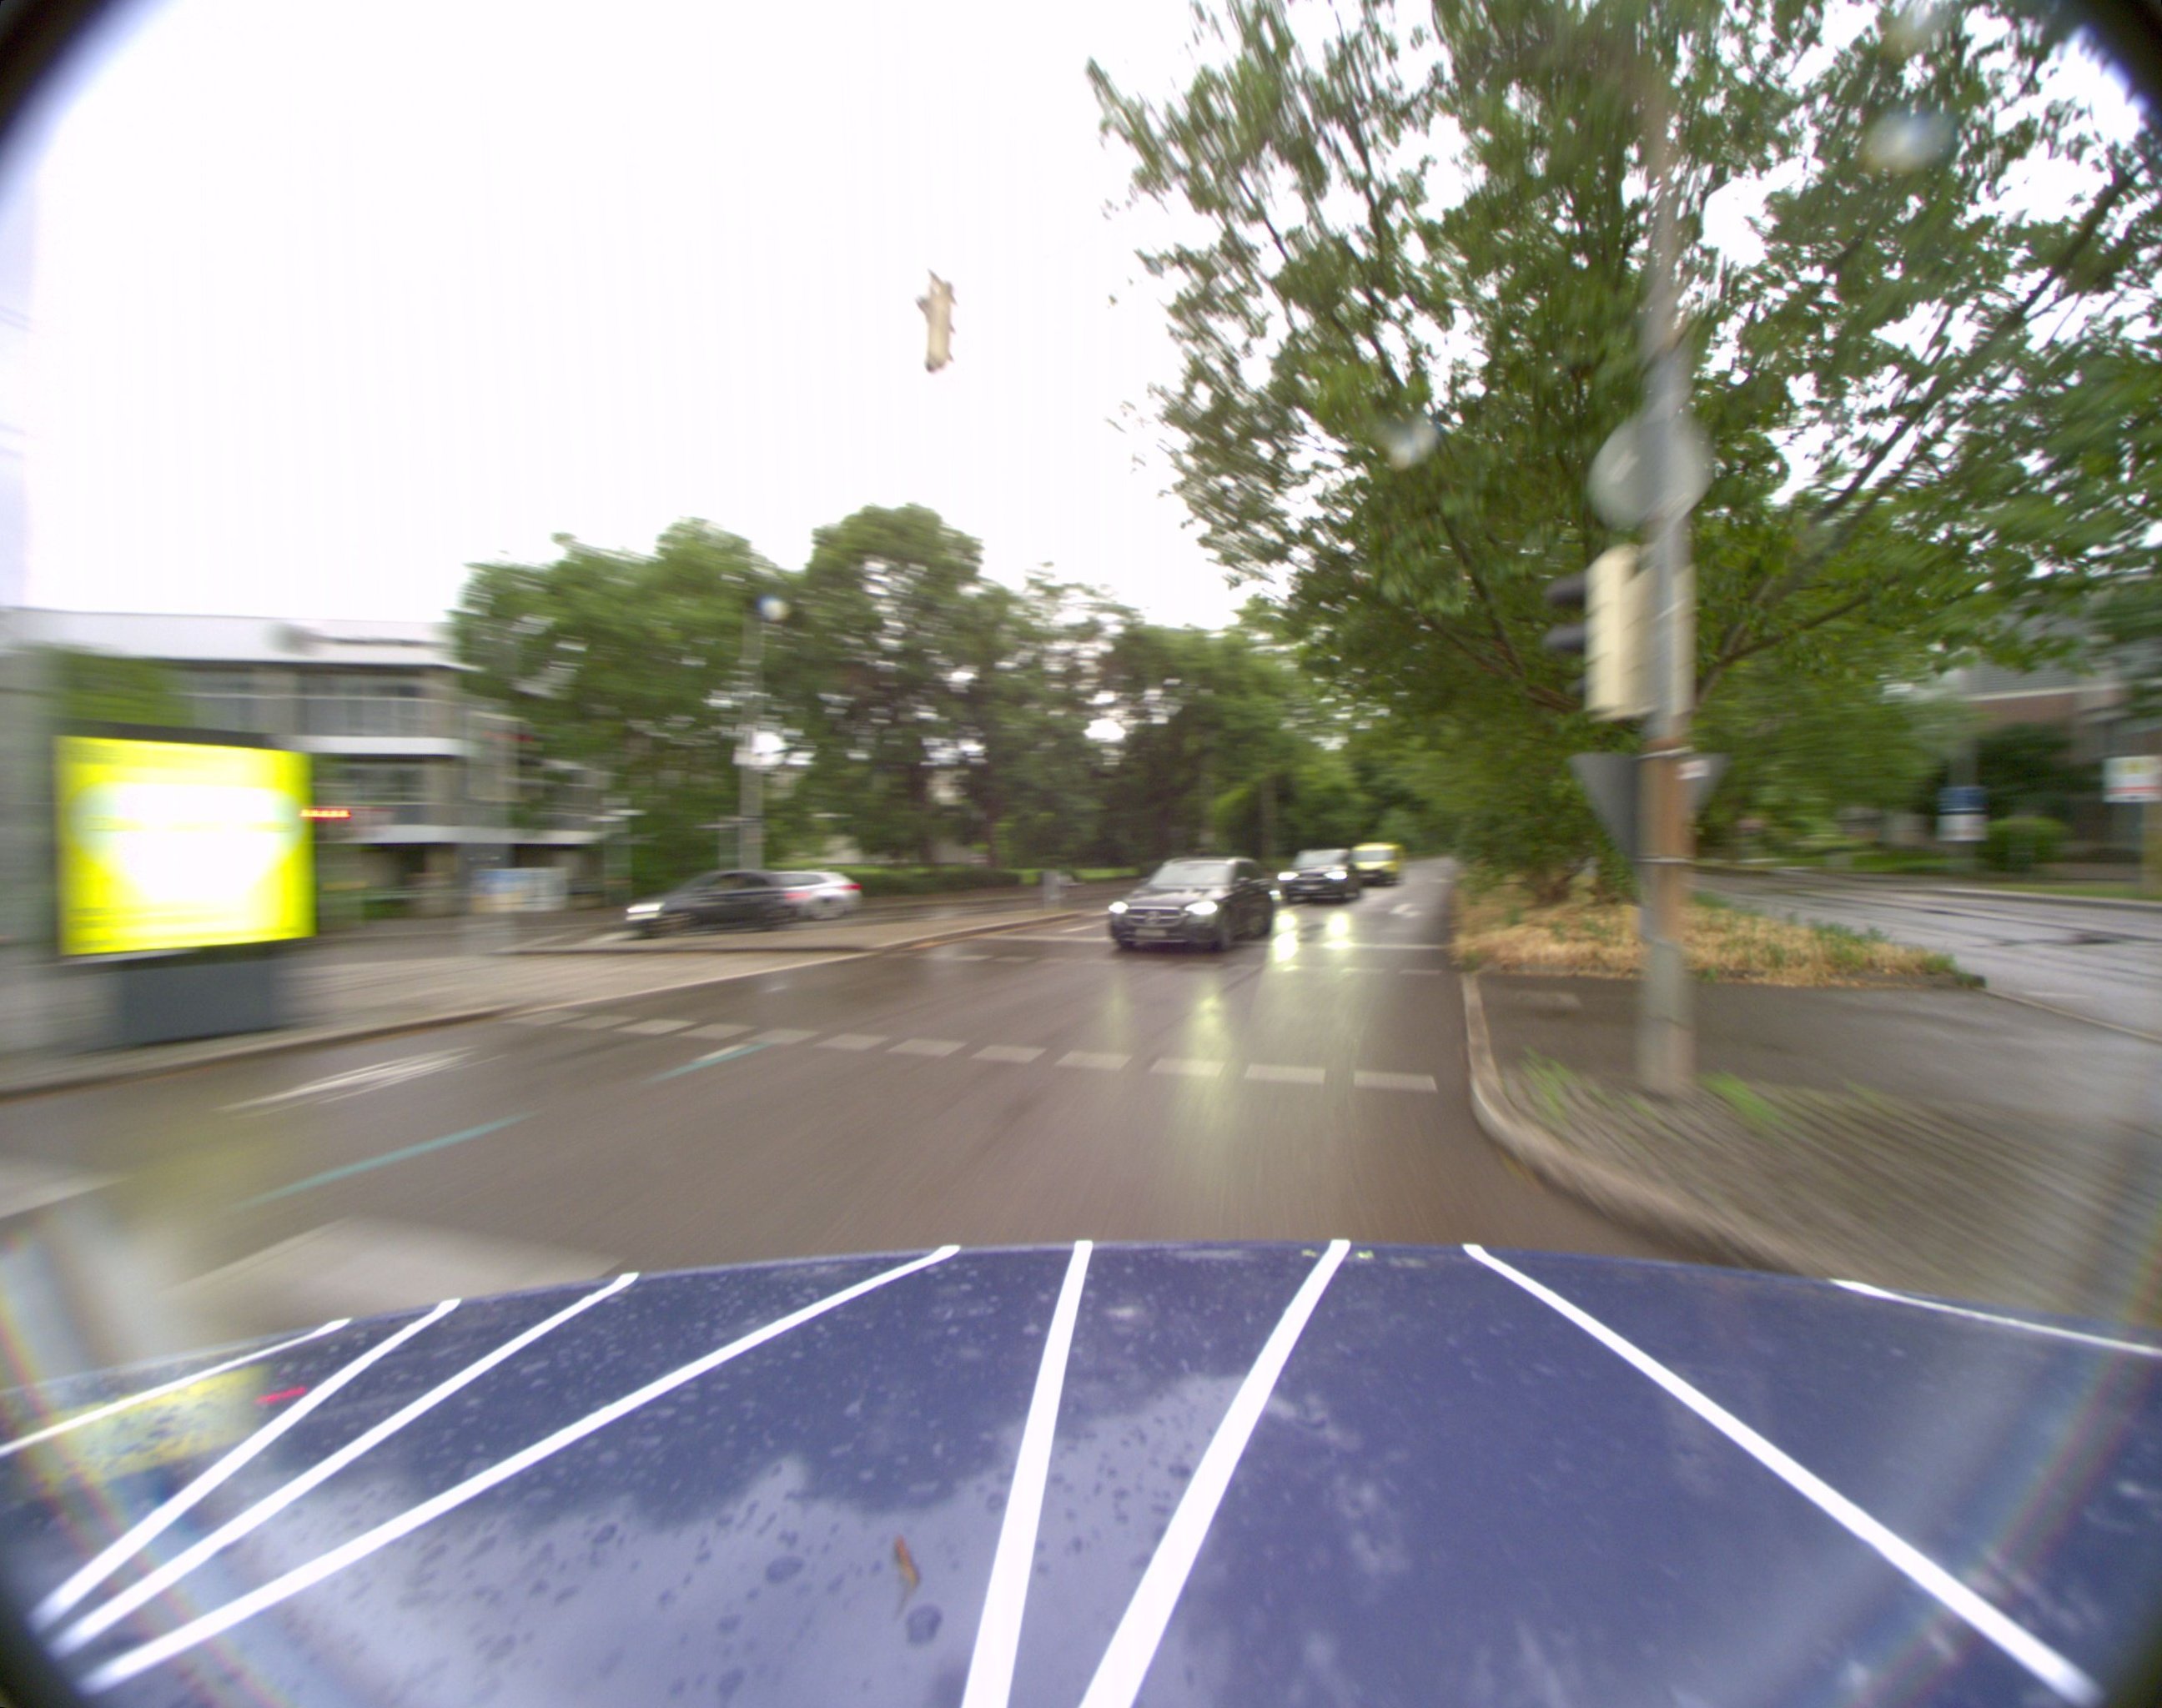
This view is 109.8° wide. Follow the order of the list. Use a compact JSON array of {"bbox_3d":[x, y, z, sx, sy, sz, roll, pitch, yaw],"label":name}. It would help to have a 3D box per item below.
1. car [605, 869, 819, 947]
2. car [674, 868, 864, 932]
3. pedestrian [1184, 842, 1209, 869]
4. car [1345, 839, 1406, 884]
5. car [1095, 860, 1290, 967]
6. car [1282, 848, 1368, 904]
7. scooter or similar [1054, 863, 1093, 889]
[{"bbox_3d":[-8.151,1.101,16.907,4.007,1.441,1.863,-1,0,-36],"label":"car"},{"bbox_3d":[-8.455,1.170,20.824,4.412,1.441,1.863,-1,0,-41],"label":"car"},{"bbox_3d":[7.109,0.071,46.807,1.059,1.597,1.069,-3,1,-21],"label":"pedestrian"},{"bbox_3d":[13.320,0.307,34.206,1.881,1.865,4.750,-3,0,29],"label":"car"},{"bbox_3d":[2.203,0.881,13.517,1.880,1.437,4.939,-1,0,28],"label":"car"},{"bbox_3d":[7.862,0.655,24.155,1.830,1.598,4.586,-2,-1,27],"label":"car"},{"bbox_3d":[-0.342,1.007,35.229,1.895,1.095,0.556,0,3,-42],"label":"scooter or similar"}]
